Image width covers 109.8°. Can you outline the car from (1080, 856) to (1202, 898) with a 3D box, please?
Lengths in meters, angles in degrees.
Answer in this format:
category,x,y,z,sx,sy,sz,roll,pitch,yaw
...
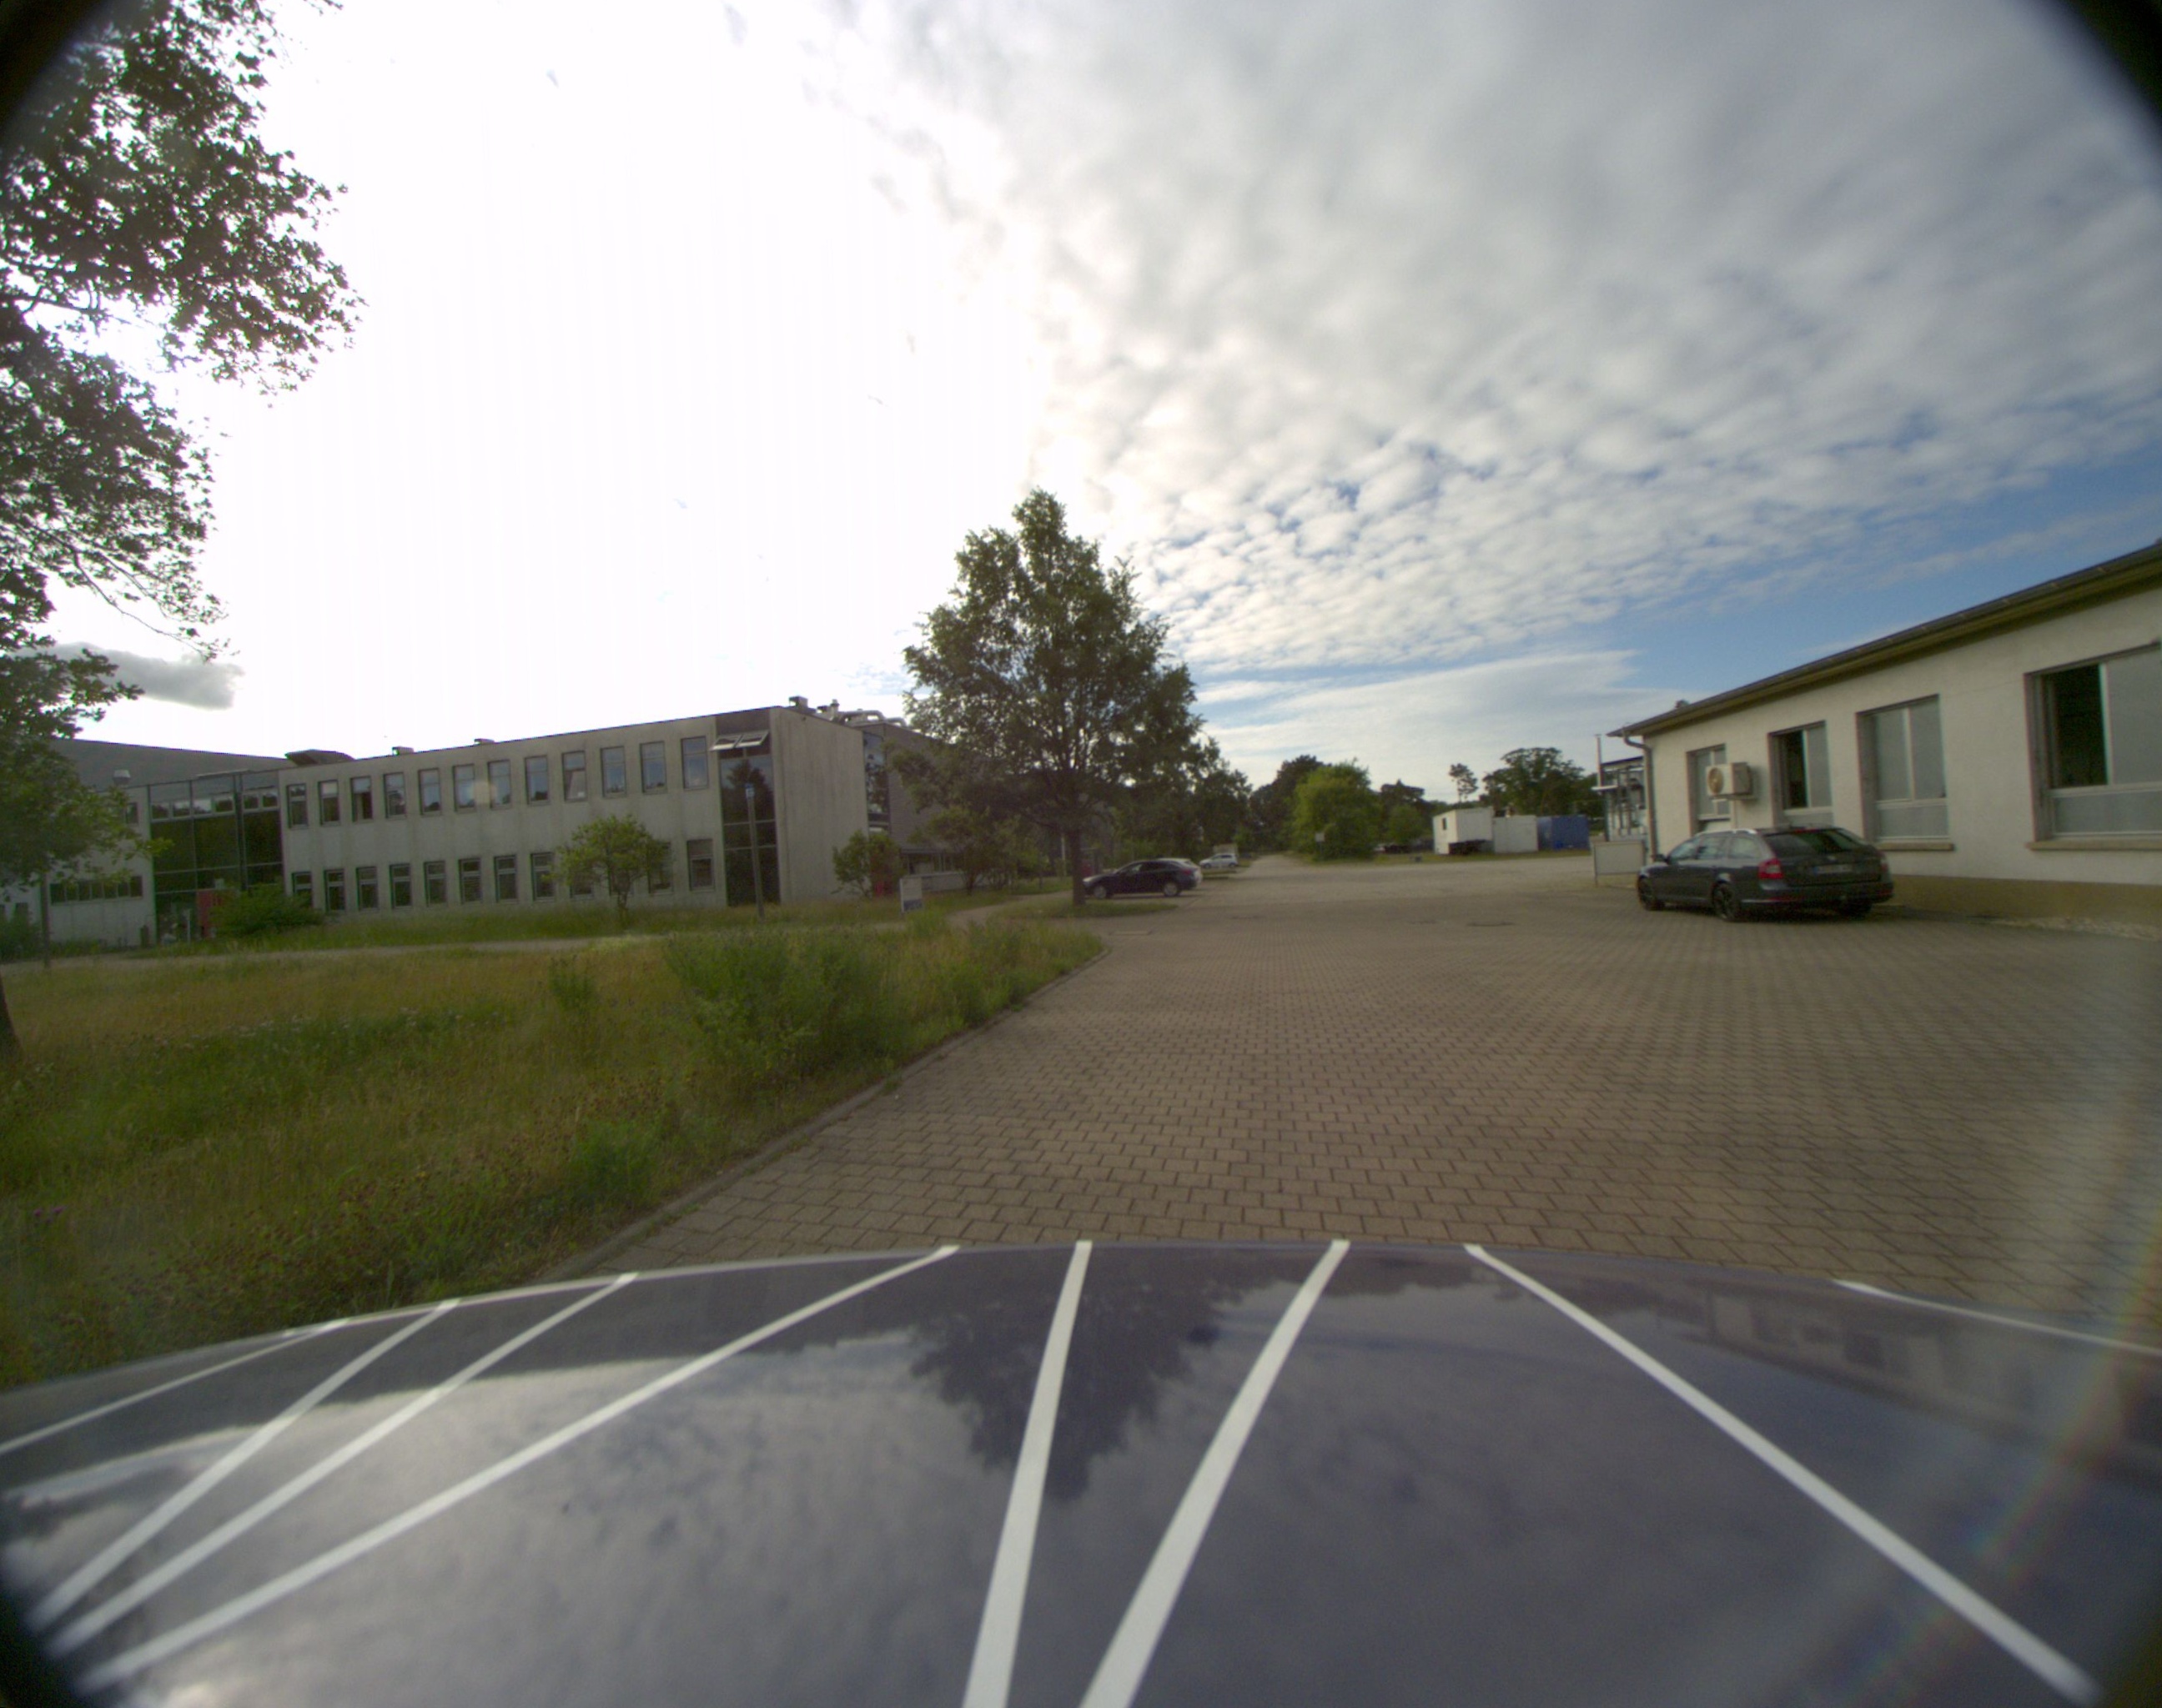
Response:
category,x,y,z,sx,sy,sz,roll,pitch,yaw
car,2.381,0.901,29.884,4.470,1.438,1.946,-2,0,14

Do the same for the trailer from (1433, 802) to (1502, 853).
category,x,y,z,sx,sy,sz,roll,pitch,yaw
trailer,31.061,-2.005,61.543,2.873,3.640,10.789,-3,0,16

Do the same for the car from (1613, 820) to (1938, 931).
category,x,y,z,sx,sy,sz,roll,pitch,yaw
car,11.316,0.297,12.974,1.927,1.452,4.815,-3,0,13

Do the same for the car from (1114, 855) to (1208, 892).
category,x,y,z,sx,sy,sz,roll,pitch,yaw
car,3.710,0.885,34.952,3.982,1.458,1.884,-3,0,14

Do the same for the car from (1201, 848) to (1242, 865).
category,x,y,z,sx,sy,sz,roll,pitch,yaw
car,14.757,0.246,79.858,4.127,1.615,1.941,-2,1,12
